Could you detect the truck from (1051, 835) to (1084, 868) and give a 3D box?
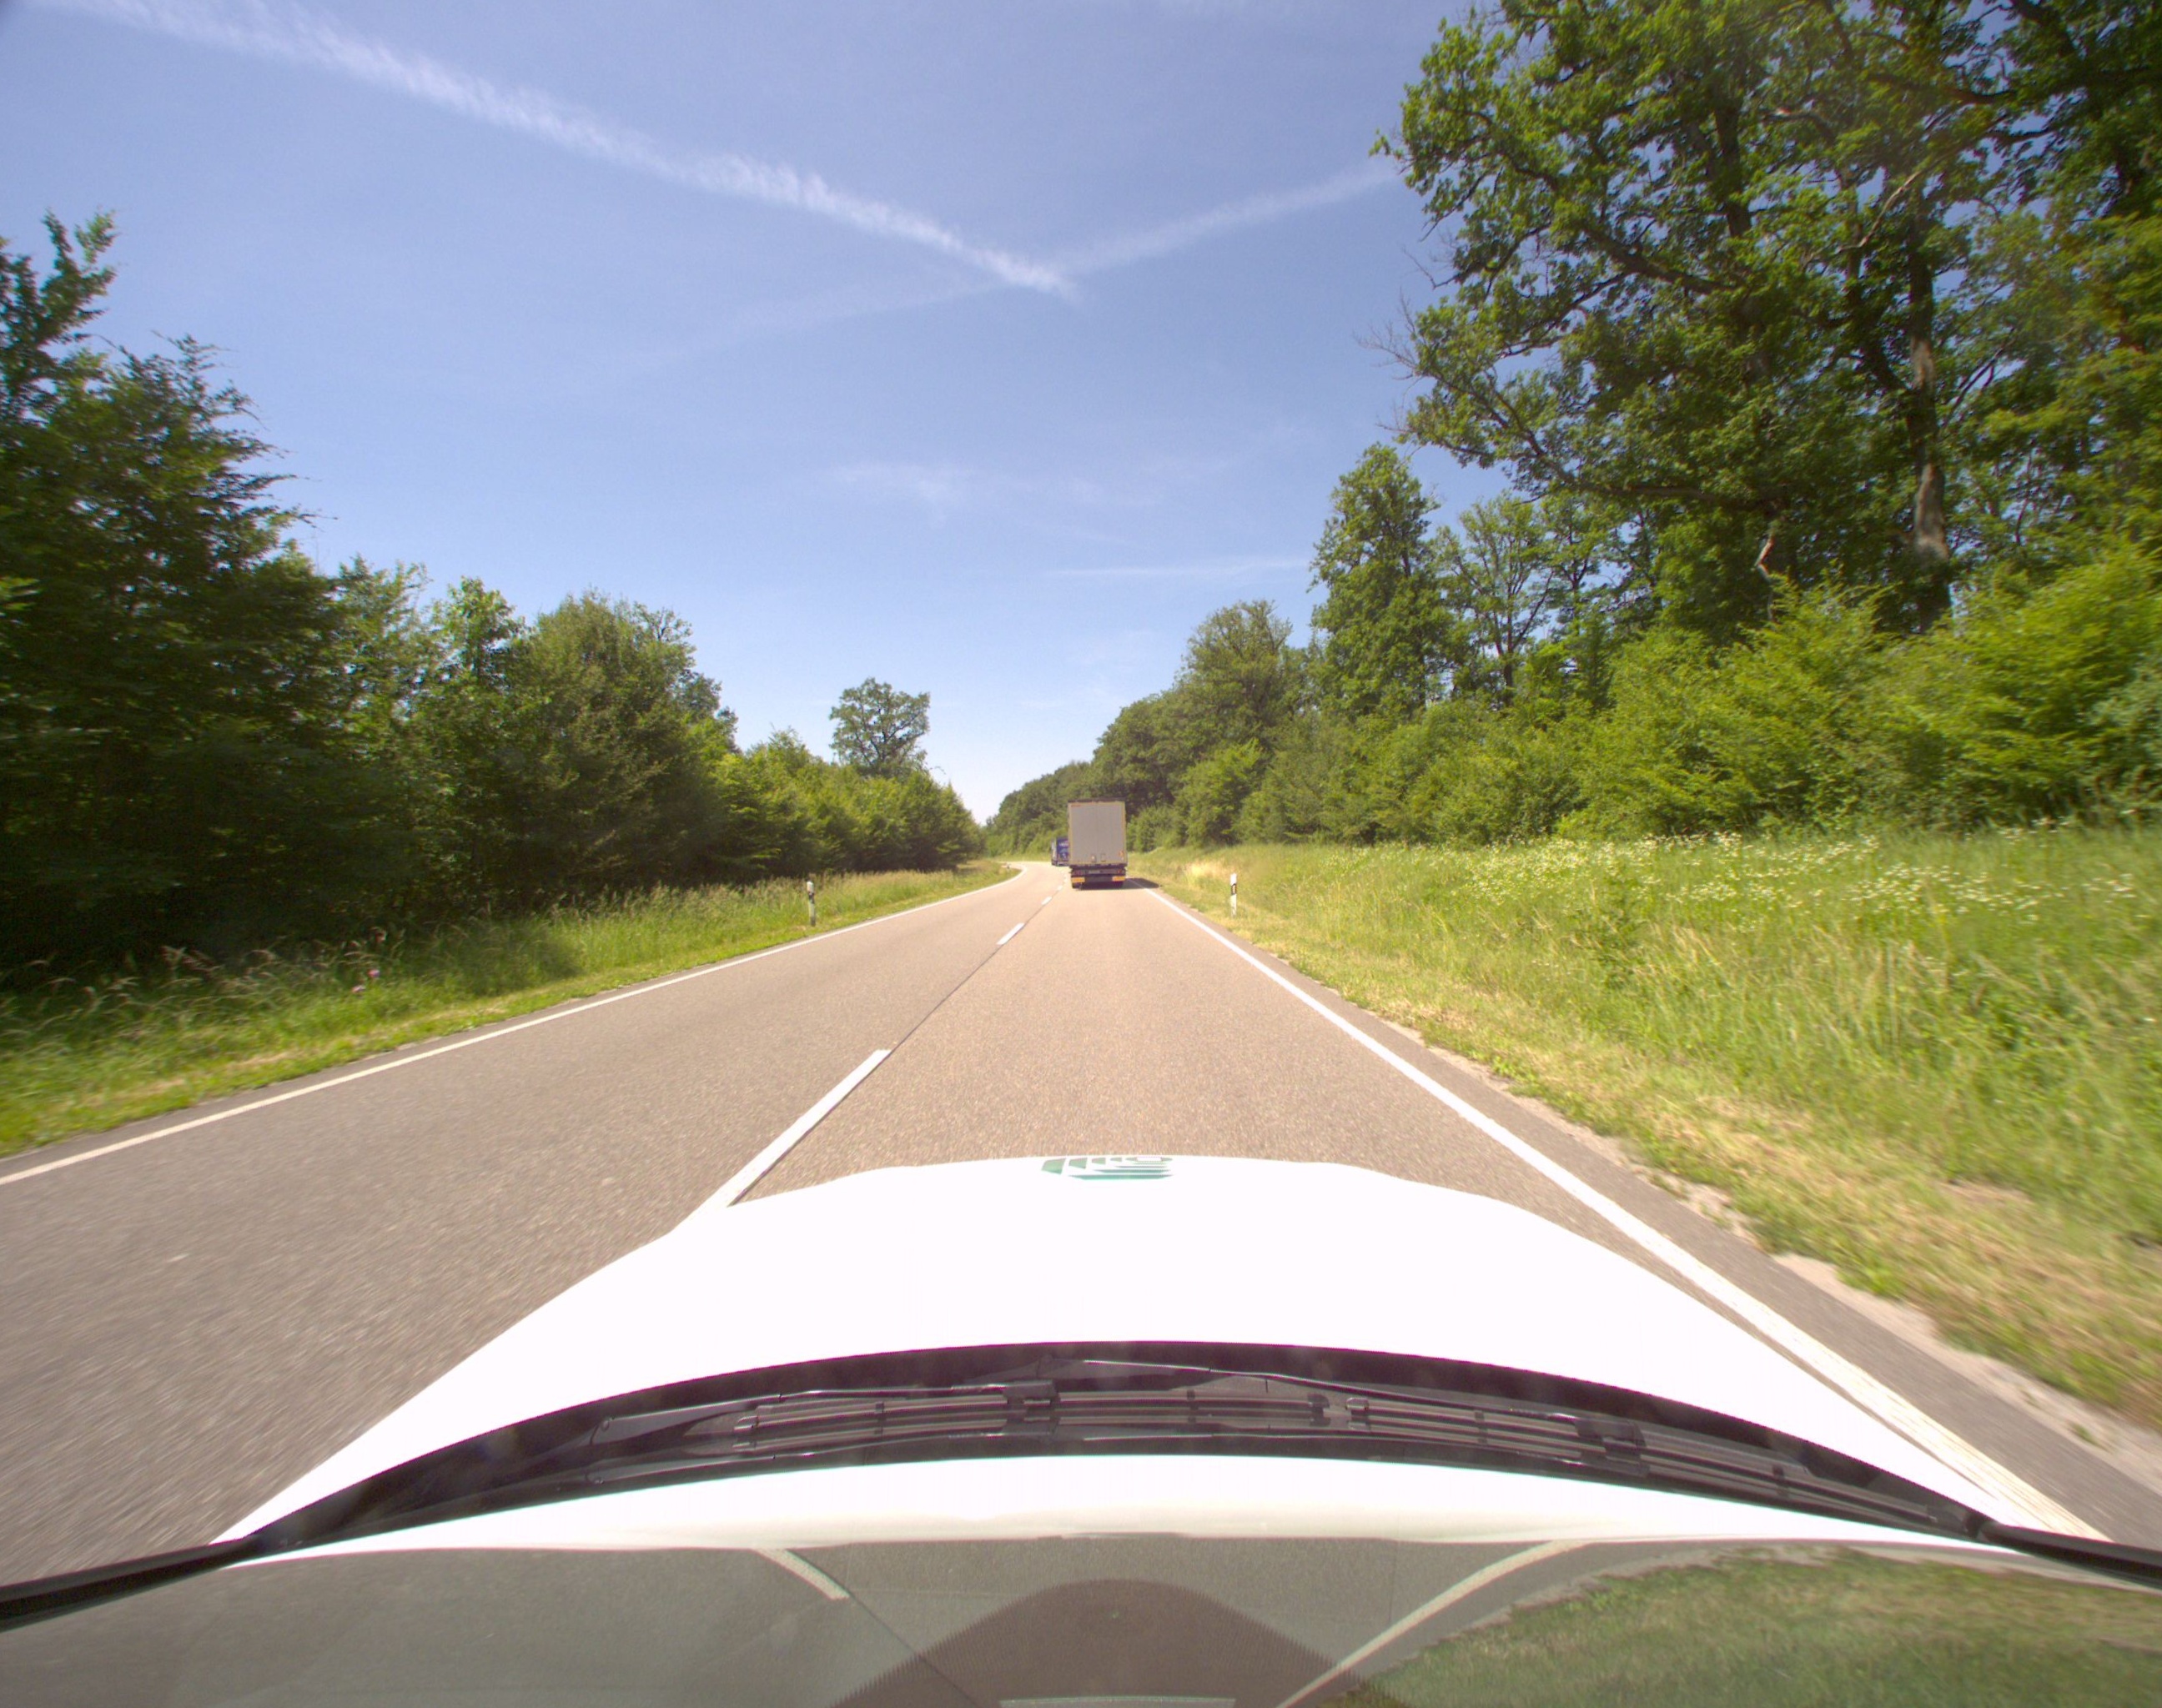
[{"bbox_3d":[-2.066,-0.352,115.703,3.786,4.373,14.898,-1,0,-4],"label":"truck"}]

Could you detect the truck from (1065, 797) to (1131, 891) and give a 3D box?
[{"bbox_3d":[0.835,-0.428,41.383,2.752,3.947,12.198,-2,0,1],"label":"truck"}]
